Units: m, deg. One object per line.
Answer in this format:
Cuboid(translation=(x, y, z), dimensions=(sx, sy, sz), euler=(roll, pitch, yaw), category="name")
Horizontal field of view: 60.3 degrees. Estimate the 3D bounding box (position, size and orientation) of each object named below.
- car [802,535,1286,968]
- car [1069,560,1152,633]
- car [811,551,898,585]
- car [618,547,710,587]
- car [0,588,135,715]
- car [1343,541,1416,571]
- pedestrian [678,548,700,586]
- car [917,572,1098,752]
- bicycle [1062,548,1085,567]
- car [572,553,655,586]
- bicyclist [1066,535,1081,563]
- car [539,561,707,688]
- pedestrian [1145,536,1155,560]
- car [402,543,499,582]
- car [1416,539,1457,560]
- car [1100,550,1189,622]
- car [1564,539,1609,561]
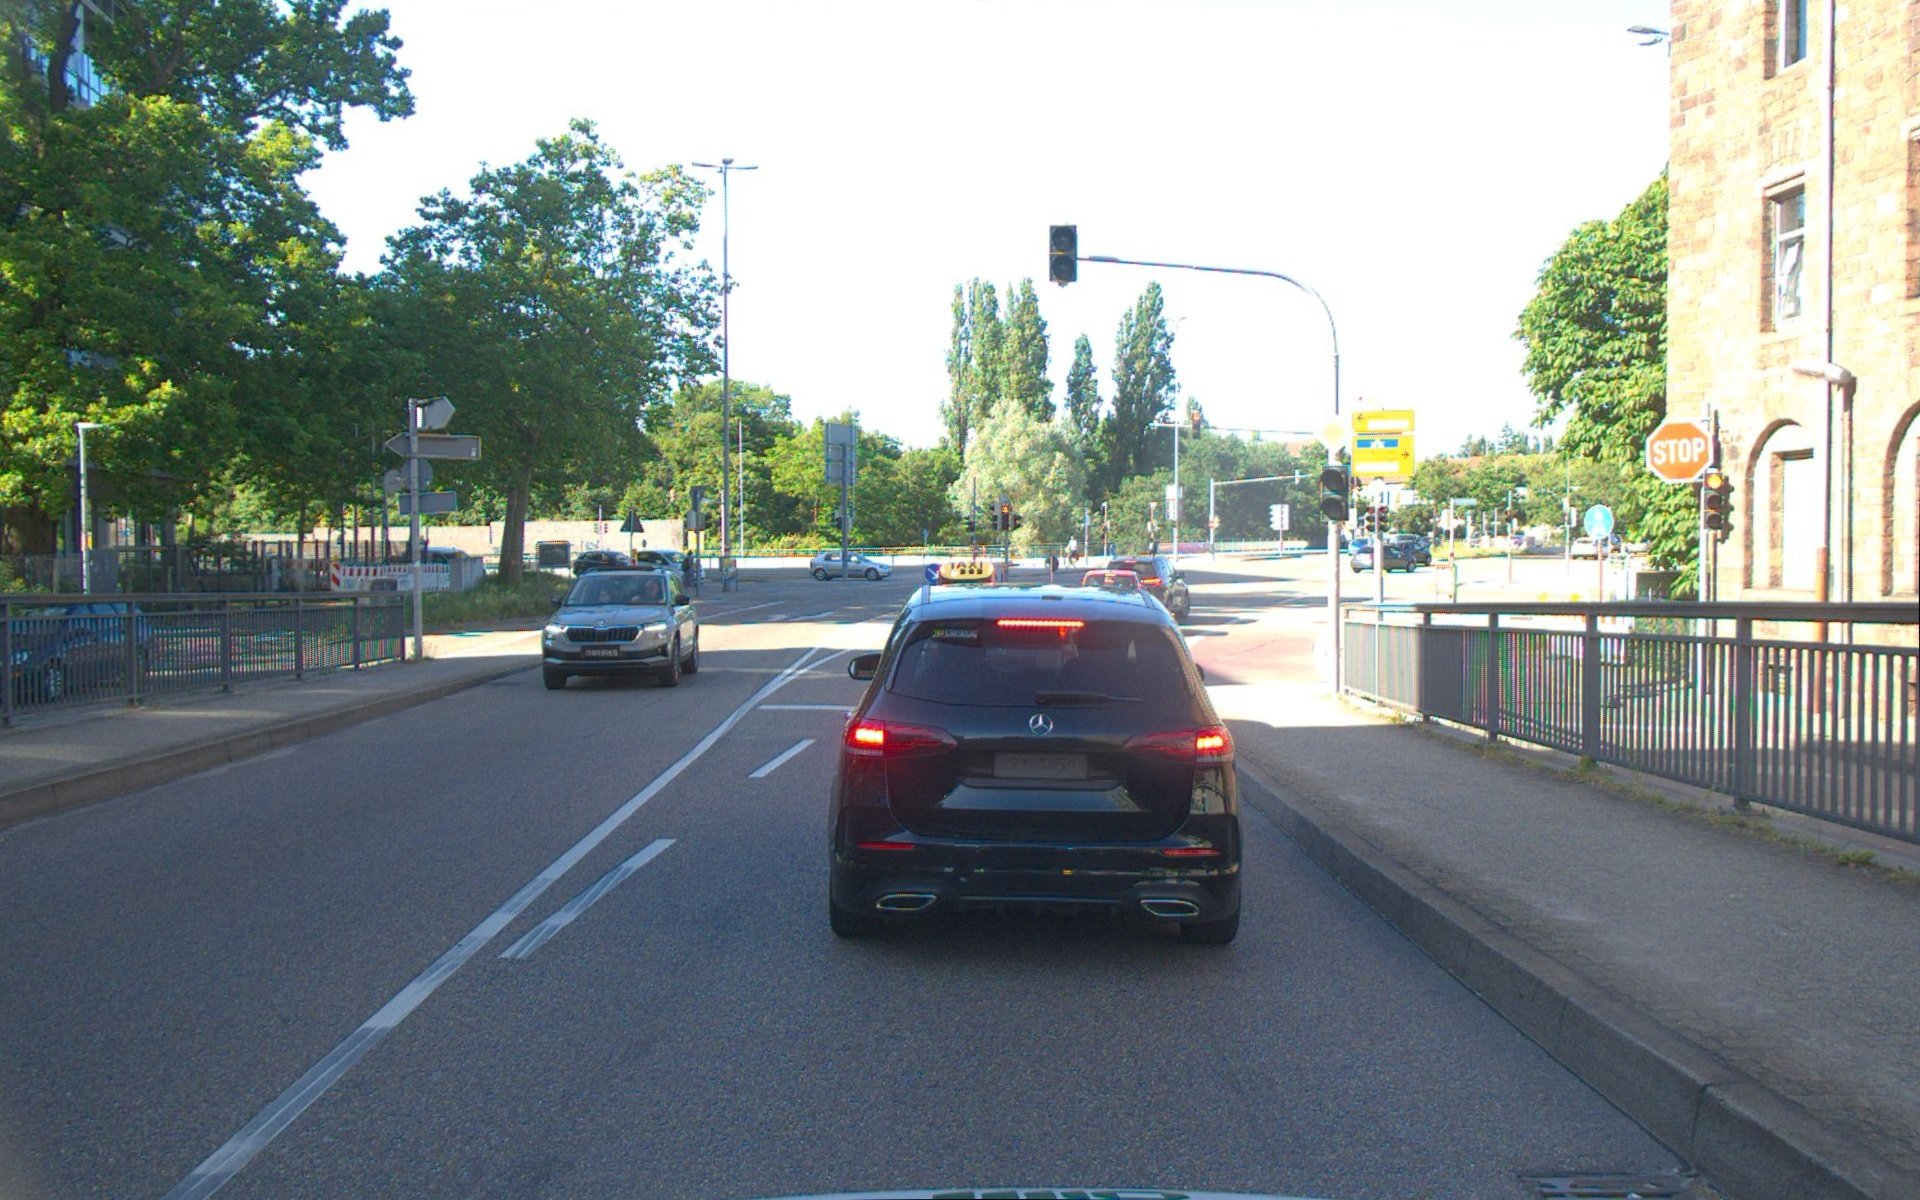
Cuboid(translation=(0.299, 0.559, 8.365), dimensions=(1.839, 1.641, 4.000), euler=(1, 1, -1), category="car")
Cuboid(translation=(3.637, -0.120, 39.459), dimensions=(1.685, 1.548, 3.490), euler=(0, 3, 10), category="car")
Cuboid(translation=(-5.138, -1.564, 81.023), dimensions=(3.902, 1.658, 1.893), euler=(0, 1, 9), category="car")
Cuboid(translation=(-13.145, -1.455, 73.365), dimensions=(3.920, 1.663, 1.777), euler=(1, 3, 36), category="car")
Cuboid(translation=(-14.764, 0.729, 25.802), dimensions=(1.814, 1.722, 4.000), euler=(0, 2, -1), category="car")
Cuboid(translation=(22.347, -2.335, 88.048), dimensions=(3.958, 1.524, 1.721), euler=(0, 0, -38), category="car")
Cuboid(translation=(-11.112, -1.358, 67.844), dimensions=(0.690, 1.552, 0.744), euler=(1, 1, 10), category="pedestrian")
Cuboid(translation=(0.471, 0.534, 16.690), dimensions=(1.606, 1.556, 3.475), euler=(-1, 2, 1), category="car")
Cuboid(translation=(6.653, -2.509, 96.977), dimensions=(0.516, 1.068, 1.986), euler=(-1, 2, 30), category="bicycle")
Cuboid(translation=(-17.893, -1.564, 85.337), dimensions=(3.910, 1.658, 1.889), euler=(0, 2, 27), category="car")
Cuboid(translation=(6.652, -2.998, 96.955), dimensions=(0.516, 1.578, 0.805), euler=(-1, 1, 31), category="bicyclist")
Cuboid(translation=(-4.725, 0.274, 23.699), dimensions=(1.768, 1.651, 3.998), euler=(0, 1, -3), category="car")
Cuboid(translation=(13.103, -3.576, 113.950), dimensions=(0.443, 1.613, 0.499), euler=(0, 2, 40), category="pedestrian")
Cuboid(translation=(-25.048, -1.843, 81.269), dimensions=(4.795, 1.825, 1.919), euler=(0, 2, 33), category="car")
Cuboid(translation=(36.522, -3.864, 126.691), dimensions=(1.846, 1.605, 3.987), euler=(1, 2, 35), category="car")
Cuboid(translation=(5.073, -0.385, 45.117), dimensions=(1.685, 1.844, 4.300), euler=(0, 1, 17), category="car")
Cuboid(translation=(42.896, -3.411, 113.182), dimensions=(1.959, 1.389, 4.301), euler=(1, 3, 35), category="car")
